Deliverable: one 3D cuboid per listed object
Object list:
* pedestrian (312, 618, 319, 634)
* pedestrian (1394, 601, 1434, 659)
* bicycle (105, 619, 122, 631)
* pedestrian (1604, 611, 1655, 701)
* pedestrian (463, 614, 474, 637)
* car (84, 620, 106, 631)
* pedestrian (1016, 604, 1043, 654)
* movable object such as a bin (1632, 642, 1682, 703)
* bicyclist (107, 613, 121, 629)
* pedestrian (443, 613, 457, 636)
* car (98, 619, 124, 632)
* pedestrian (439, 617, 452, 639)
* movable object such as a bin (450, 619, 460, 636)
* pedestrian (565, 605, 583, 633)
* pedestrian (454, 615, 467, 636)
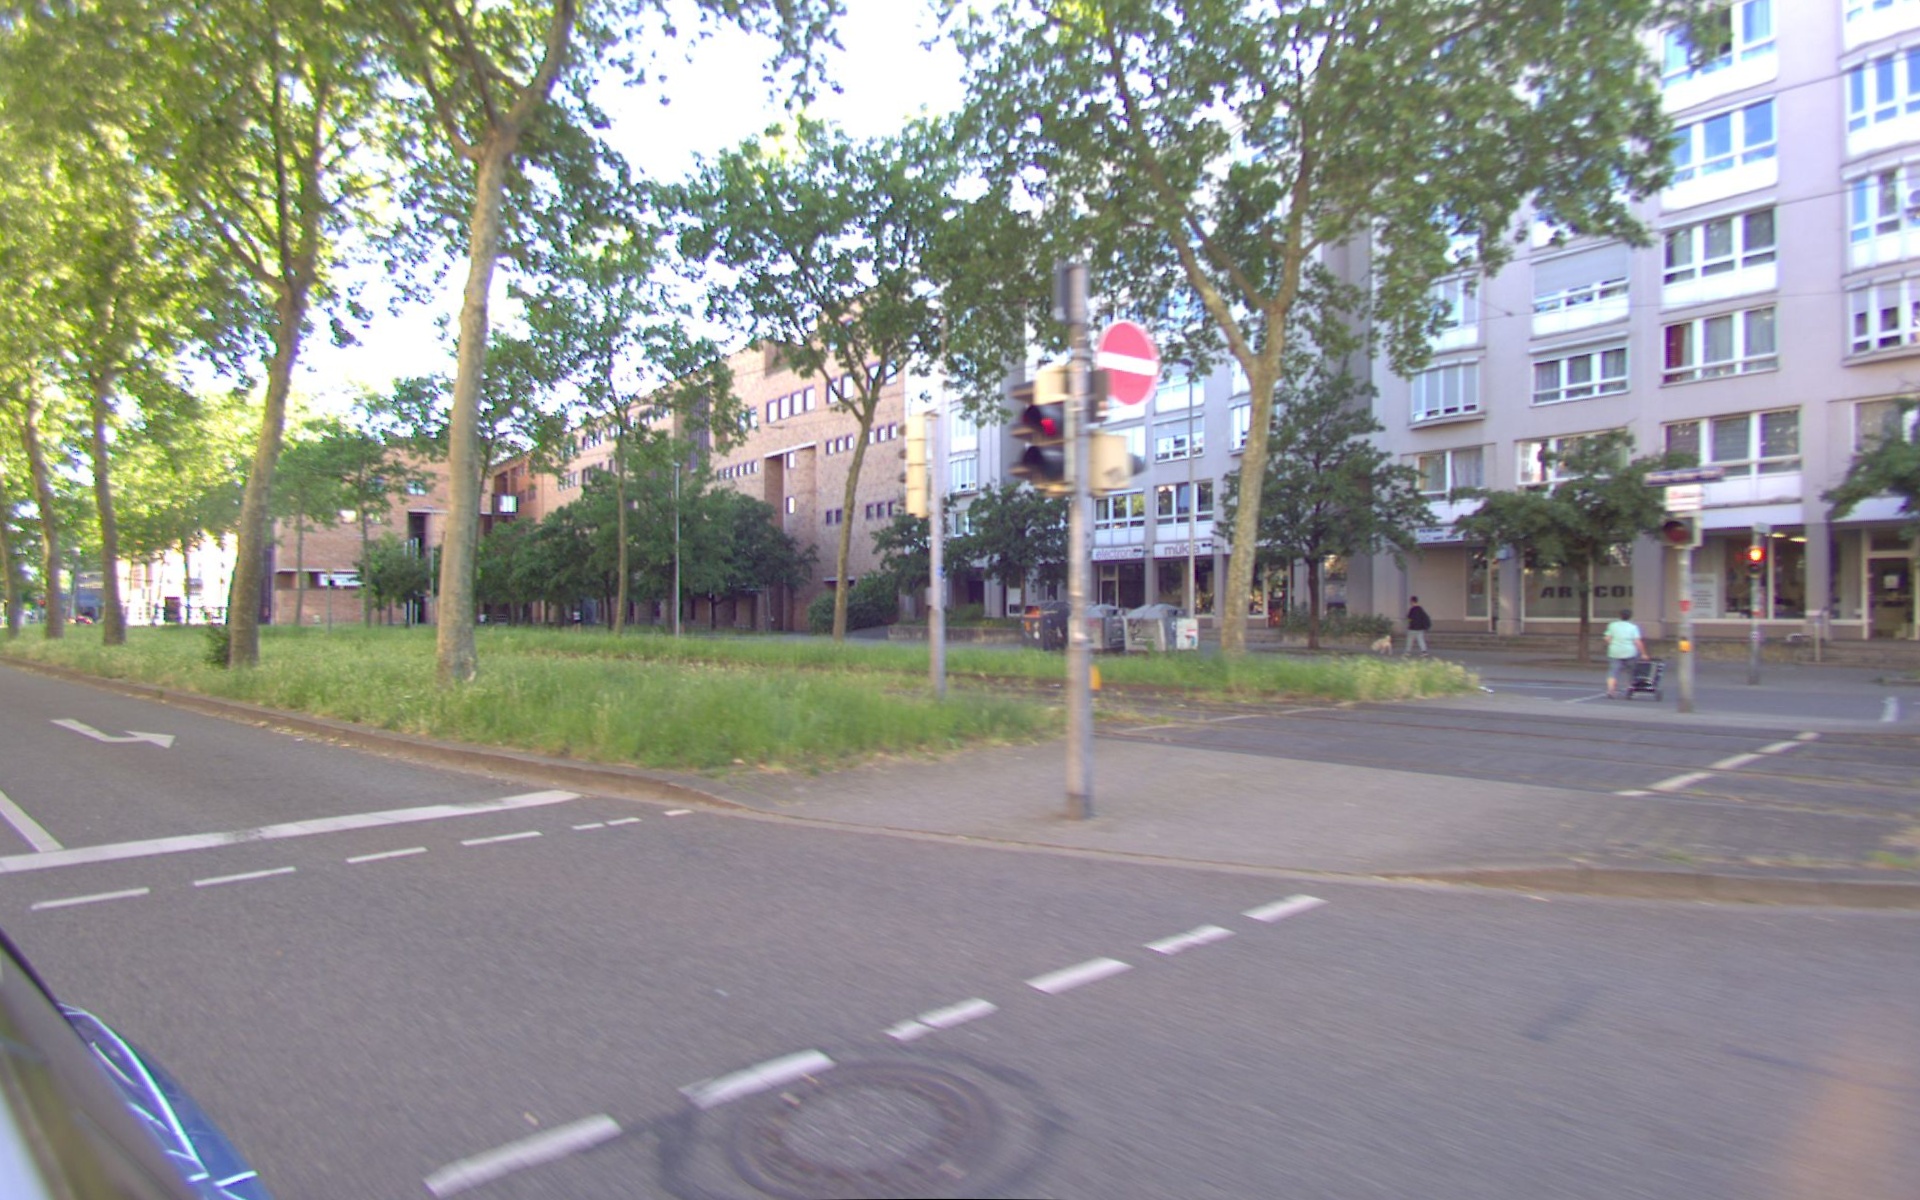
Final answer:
[{"bbox_3d":[-62.915,2.500,98.807,0.652,1.555,0.413,-1,-1,36],"label":"pedestrian"},{"bbox_3d":[13.170,0.849,29.349,0.698,1.651,0.790,0,-1,-37],"label":"pedestrian"},{"bbox_3d":[-84.781,2.502,101.376,2.436,1.134,0.946,0,-1,42],"label":"bicycle"},{"bbox_3d":[11.609,0.953,17.547,0.610,1.515,0.536,0,-1,-35],"label":"pedestrian"},{"bbox_3d":[-37.824,1.959,77.894,0.596,1.692,0.604,-1,-1,40],"label":"pedestrian"},{"bbox_3d":[-110.653,3.246,129.451,3.219,1.440,1.596,-1,-2,40],"label":"car"},{"bbox_3d":[2.501,1.040,36.606,0.648,1.753,0.720,-1,-2,45],"label":"pedestrian"},{"bbox_3d":[11.624,1.198,16.881,0.503,0.960,0.541,0,-1,-35],"label":"movable object such as a bin"},{"bbox_3d":[-84.676,2.078,101.286,1.209,1.583,0.931,-2,-2,42],"label":"bicyclist"},{"bbox_3d":[-38.747,1.846,76.915,0.796,1.735,0.657,-1,-1,41],"label":"pedestrian"},{"bbox_3d":[-100.052,3.009,119.235,4.147,1.440,1.653,-1,-2,41],"label":"car"},{"bbox_3d":[-39.650,2.163,77.942,0.756,1.629,0.657,-1,-1,41],"label":"pedestrian"},{"bbox_3d":[-38.133,2.061,76.415,0.756,1.289,0.352,-1,-1,41],"label":"movable object such as a bin"},{"bbox_3d":[-25.392,1.246,66.627,0.901,1.845,0.815,-1,-1,42],"label":"pedestrian"},{"bbox_3d":[-38.221,1.948,77.486,0.756,1.629,0.657,-1,-1,41],"label":"pedestrian"}]
